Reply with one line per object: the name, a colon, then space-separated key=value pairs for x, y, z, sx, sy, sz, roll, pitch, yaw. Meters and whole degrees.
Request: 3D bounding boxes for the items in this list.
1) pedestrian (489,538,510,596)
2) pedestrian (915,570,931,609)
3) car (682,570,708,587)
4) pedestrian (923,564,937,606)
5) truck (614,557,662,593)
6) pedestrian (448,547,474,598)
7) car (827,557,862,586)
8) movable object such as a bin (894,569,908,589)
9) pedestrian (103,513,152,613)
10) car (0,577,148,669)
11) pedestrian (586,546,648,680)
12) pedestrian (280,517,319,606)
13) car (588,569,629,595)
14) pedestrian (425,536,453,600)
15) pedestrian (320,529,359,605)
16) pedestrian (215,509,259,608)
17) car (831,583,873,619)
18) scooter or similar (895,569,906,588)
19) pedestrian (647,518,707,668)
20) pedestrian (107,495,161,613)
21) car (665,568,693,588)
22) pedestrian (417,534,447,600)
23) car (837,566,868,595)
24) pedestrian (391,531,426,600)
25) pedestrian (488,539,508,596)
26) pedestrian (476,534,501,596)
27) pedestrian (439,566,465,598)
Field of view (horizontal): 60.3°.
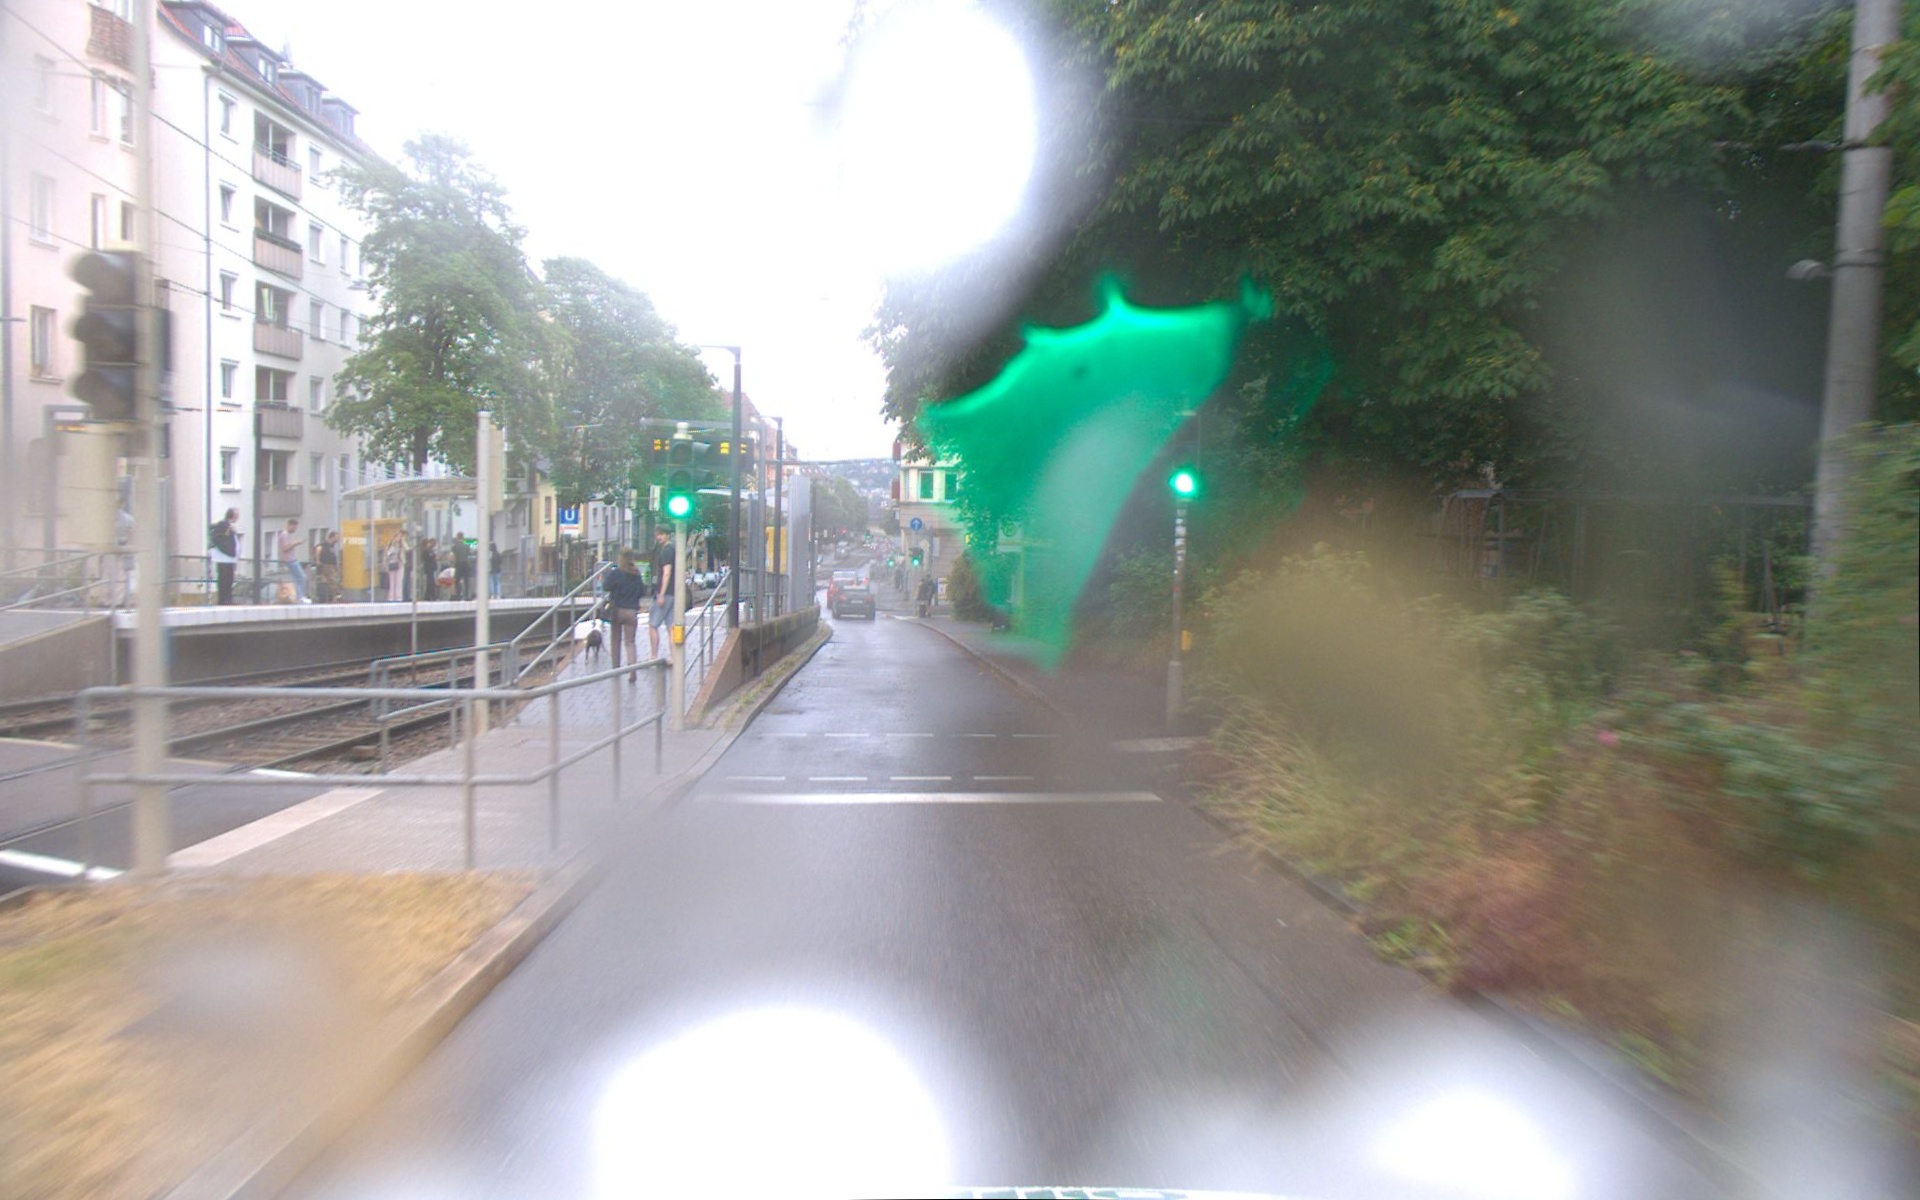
pedestrian: x=-14.343 y=-1.023 z=51.507 sx=0.473 sy=1.771 sz=0.563 roll=-1 pitch=0 yaw=-3
pedestrian: x=-1.626 y=-0.483 z=73.221 sx=0.681 sy=1.724 sz=0.555 roll=1 pitch=0 yaw=-4
car: x=-23.510 y=-1.910 z=147.040 sx=1.737 sy=1.514 sz=4.253 roll=-2 pitch=1 yaw=-2
pedestrian: x=-1.333 y=-0.679 z=73.864 sx=0.543 sy=1.845 sz=0.650 roll=1 pitch=0 yaw=-5
truck: x=-22.248 y=-1.744 z=114.472 sx=2.009 sy=2.434 sz=6.322 roll=0 pitch=1 yaw=0
pedestrian: x=-14.105 y=-0.776 z=46.787 sx=0.539 sy=1.438 sz=0.614 roll=-1 pitch=0 yaw=-3
car: x=-6.232 y=-1.513 z=88.964 sx=1.815 sy=1.499 sz=3.997 roll=1 pitch=0 yaw=-4
movable object such as a bin: x=-5.184 y=-1.871 z=145.048 sx=1.145 sy=1.684 sz=1.307 roll=-1 pitch=1 yaw=-7
pedestrian: x=-13.808 y=-0.607 z=27.451 sx=0.506 sy=1.633 sz=0.562 roll=-1 pitch=0 yaw=-3
car: x=-19.097 y=0.463 z=34.479 sx=1.953 sy=1.762 sz=4.813 roll=-1 pitch=0 yaw=0
pedestrian: x=-4.223 y=0.147 z=20.402 sx=0.637 sy=1.588 sz=0.684 roll=0 pitch=5 yaw=-2
pedestrian: x=-14.078 y=-0.817 z=35.283 sx=0.505 sy=1.870 sz=0.761 roll=-1 pitch=0 yaw=-3
car: x=-22.145 y=-1.167 z=104.316 sx=1.691 sy=1.541 sz=4.495 roll=0 pitch=2 yaw=-2
pedestrian: x=-14.085 y=-0.868 z=44.731 sx=0.539 sy=1.695 sz=0.614 roll=-1 pitch=0 yaw=-3
pedestrian: x=-14.184 y=-0.746 z=37.817 sx=0.582 sy=1.695 sz=0.761 roll=-1 pitch=0 yaw=-3
pedestrian: x=-13.876 y=-0.796 z=31.751 sx=0.505 sy=1.870 sz=0.761 roll=-1 pitch=0 yaw=-3
car: x=-4.856 y=0.008 z=74.209 sx=1.815 sy=1.499 sz=3.997 roll=0 pitch=1 yaw=-4
scooter or similar: x=-5.172 y=-1.831 z=143.539 sx=0.901 sy=1.632 sz=0.861 roll=0 pitch=1 yaw=-7
pedestrian: x=-3.595 y=-0.104 z=21.062 sx=0.637 sy=1.813 sz=0.848 roll=0 pitch=6 yaw=-2
pedestrian: x=-13.432 y=-0.736 z=26.894 sx=0.550 sy=1.882 sz=0.598 roll=-1 pitch=0 yaw=-3
car: x=-23.038 y=-1.848 z=135.617 sx=1.738 sy=1.573 sz=4.253 roll=-2 pitch=1 yaw=-3
pedestrian: x=-13.929 y=-0.863 z=43.610 sx=0.582 sy=1.695 sz=0.591 roll=-1 pitch=0 yaw=-3
car: x=-7.018 y=-1.287 z=107.531 sx=1.910 sy=1.824 sz=4.140 roll=1 pitch=0 yaw=-4
pedestrian: x=-13.757 y=-0.850 z=41.268 sx=0.582 sy=1.695 sz=0.761 roll=-1 pitch=0 yaw=-3
pedestrian: x=-14.549 y=-1.022 z=52.085 sx=0.473 sy=1.771 sz=0.563 roll=-1 pitch=0 yaw=-3
pedestrian: x=-13.696 y=-1.013 z=48.062 sx=0.539 sy=1.771 sz=0.614 roll=-1 pitch=0 yaw=-3
pedestrian: x=-14.090 y=-0.494 z=45.889 sx=0.539 sy=0.887 sz=0.614 roll=-1 pitch=0 yaw=-3
